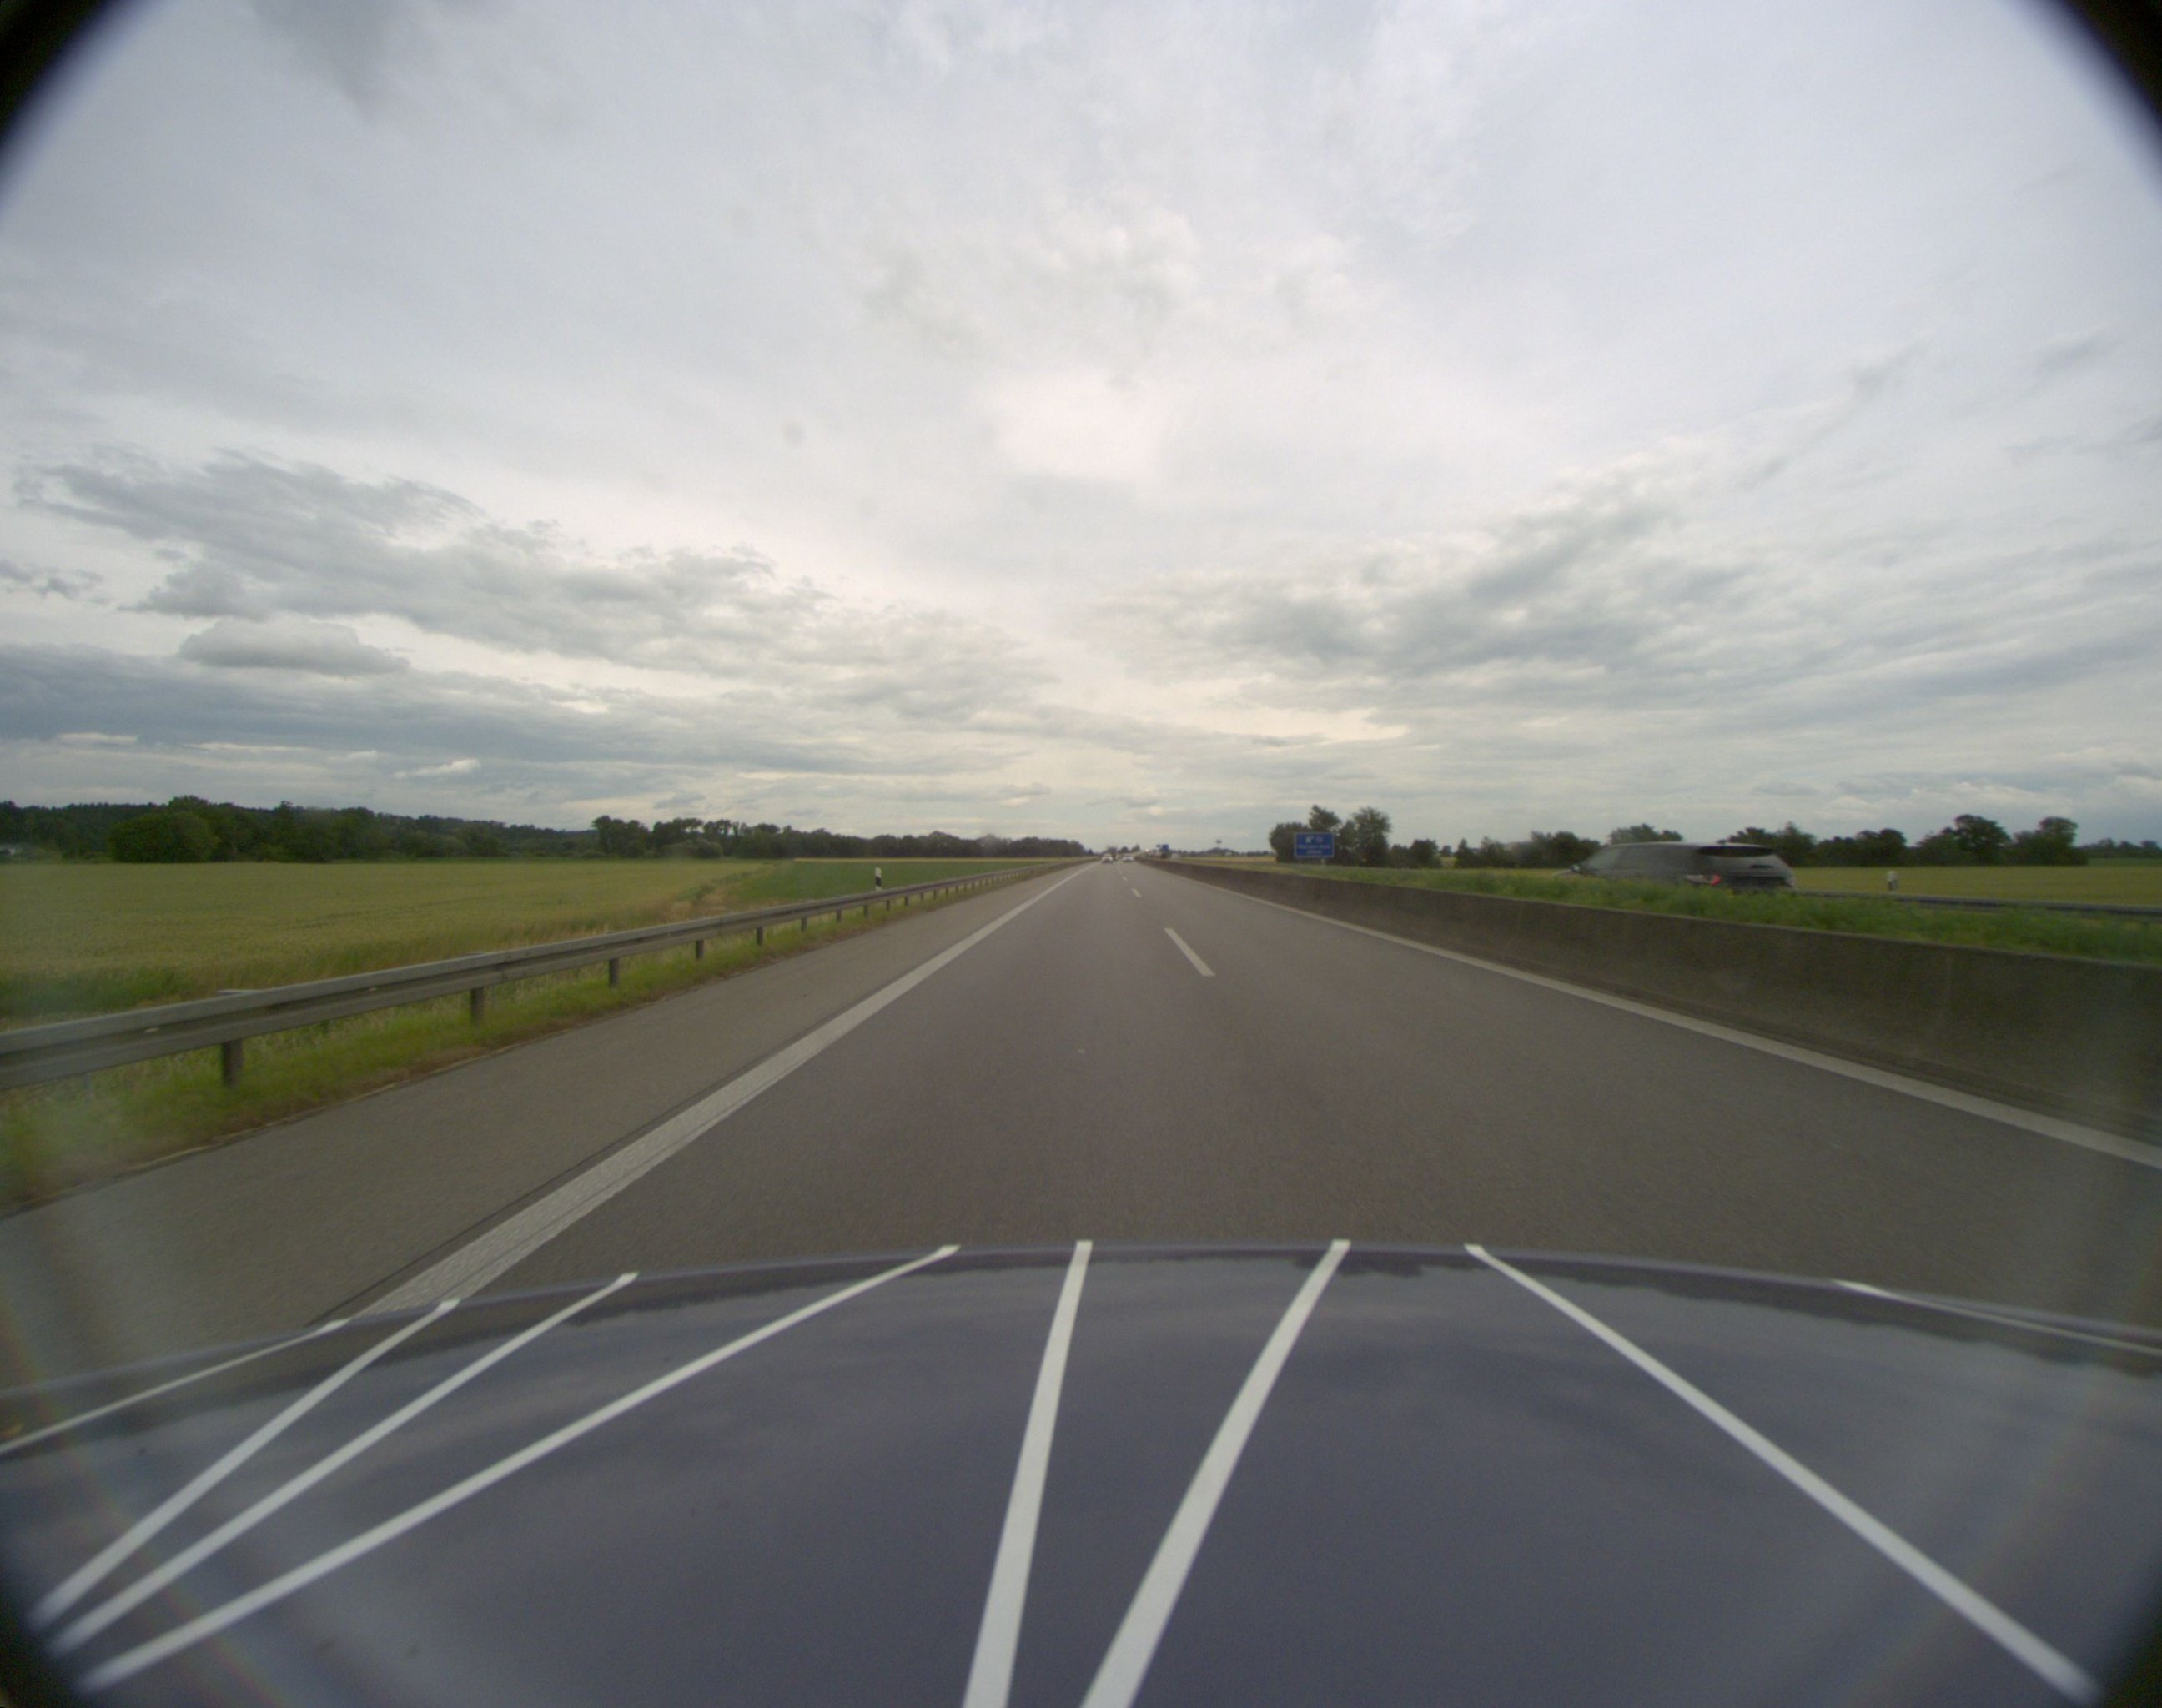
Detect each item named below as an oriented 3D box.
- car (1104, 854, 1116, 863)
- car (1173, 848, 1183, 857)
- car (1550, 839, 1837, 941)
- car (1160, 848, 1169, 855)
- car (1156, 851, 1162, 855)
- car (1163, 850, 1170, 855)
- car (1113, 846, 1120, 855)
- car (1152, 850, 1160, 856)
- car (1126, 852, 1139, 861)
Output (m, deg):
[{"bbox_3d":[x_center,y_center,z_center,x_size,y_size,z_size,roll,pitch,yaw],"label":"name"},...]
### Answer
[{"bbox_3d":[5.301,0.878,138.320,1.916,1.553,4.287,-1,1,0],"label":"car"},{"bbox_3d":[21.603,-0.331,169.185,2.035,2.097,4.906,-1,0,4],"label":"car"},{"bbox_3d":[10.331,0.522,13.312,1.693,1.483,4.183,-1,0,0],"label":"car"},{"bbox_3d":[18.750,-0.575,170.887,1.693,1.617,4.183,-1,0,0],"label":"car"},{"bbox_3d":[24.508,-0.329,238.979,1.693,1.483,4.183,-1,0,0],"label":"car"},{"bbox_3d":[24.470,-0.484,217.871,1.693,1.483,4.183,-1,0,0],"label":"car"},{"bbox_3d":[9.241,-0.848,197.790,1.915,2.248,5.313,-1,1,3],"label":"car"},{"bbox_3d":[21.051,-0.309,213.578,1.693,1.483,4.183,-1,0,0],"label":"car"},{"bbox_3d":[10.150,0.501,150.603,1.917,1.553,4.285,-1,1,-5],"label":"car"}]
